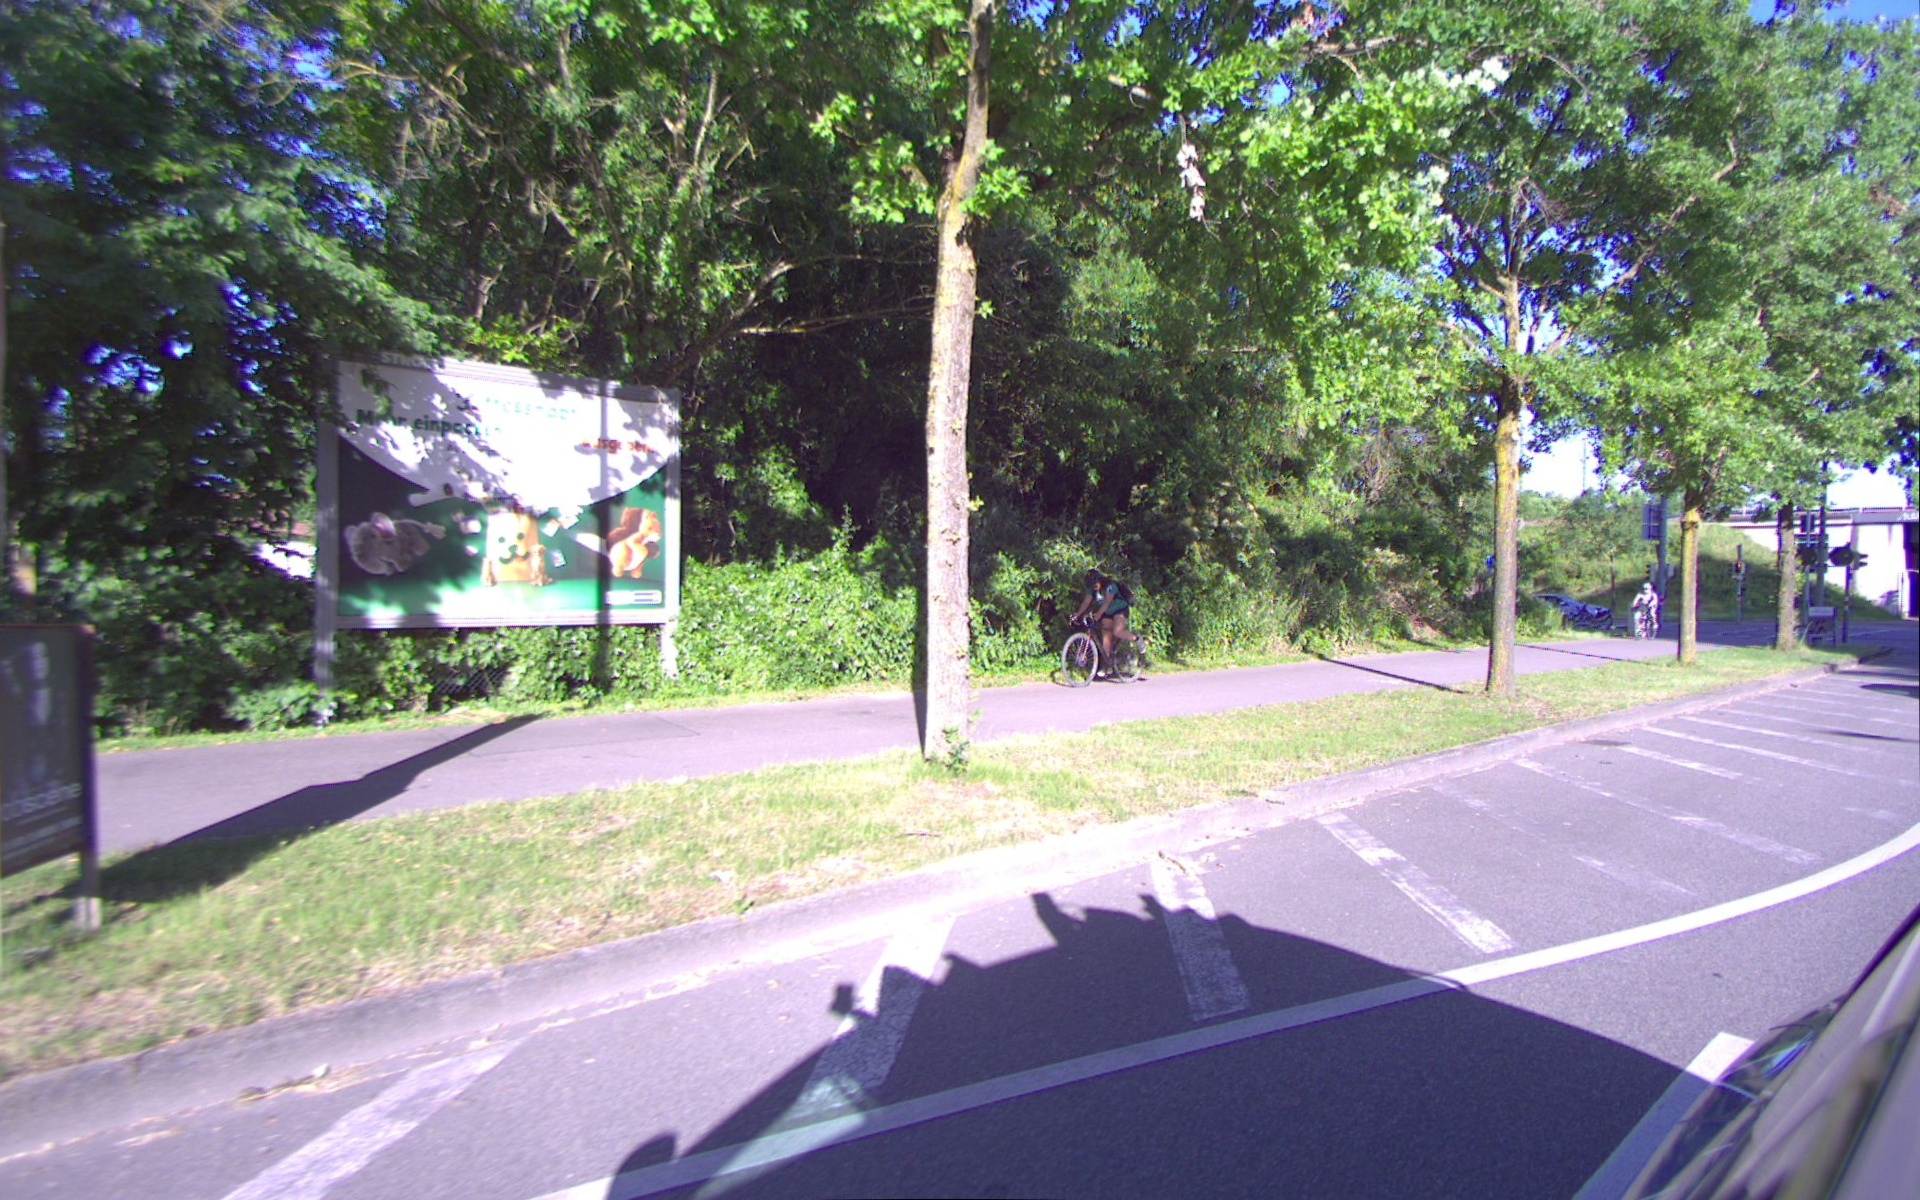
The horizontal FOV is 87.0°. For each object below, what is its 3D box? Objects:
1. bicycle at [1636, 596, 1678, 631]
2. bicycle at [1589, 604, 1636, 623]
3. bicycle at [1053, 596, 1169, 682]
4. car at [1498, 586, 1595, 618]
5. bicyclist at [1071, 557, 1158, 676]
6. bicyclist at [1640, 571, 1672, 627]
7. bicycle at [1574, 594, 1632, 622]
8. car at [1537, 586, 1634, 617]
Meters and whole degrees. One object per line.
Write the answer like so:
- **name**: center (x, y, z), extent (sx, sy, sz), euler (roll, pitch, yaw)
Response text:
- **bicycle**: center (20.719, 0.391, 30.066), extent (2.011, 1.004, 0.572), euler (0, 1, -42)
- **bicycle**: center (24.933, 0.515, 38.724), extent (0.830, 0.629, 2.187), euler (3, 2, 14)
- **bicycle**: center (2.089, 0.498, 13.826), extent (1.905, 1.086, 0.516), euler (-1, 2, -45)
- **car**: center (30.561, 0.053, 52.843), extent (1.772, 1.493, 3.999), euler (-2, 3, -36)
- **bicyclist**: center (2.107, 0.203, 13.751), extent (1.019, 1.541, 0.685), euler (0, 1, -45)
- **bicyclist**: center (20.535, -0.046, 29.866), extent (0.850, 1.630, 0.566), euler (0, 1, -42)
- **bicycle**: center (26.076, 0.294, 41.053), extent (0.445, 1.066, 1.999), euler (0, 1, -28)
- **car**: center (33.004, 0.051, 53.473), extent (1.783, 1.493, 4.000), euler (-2, 3, -35)
